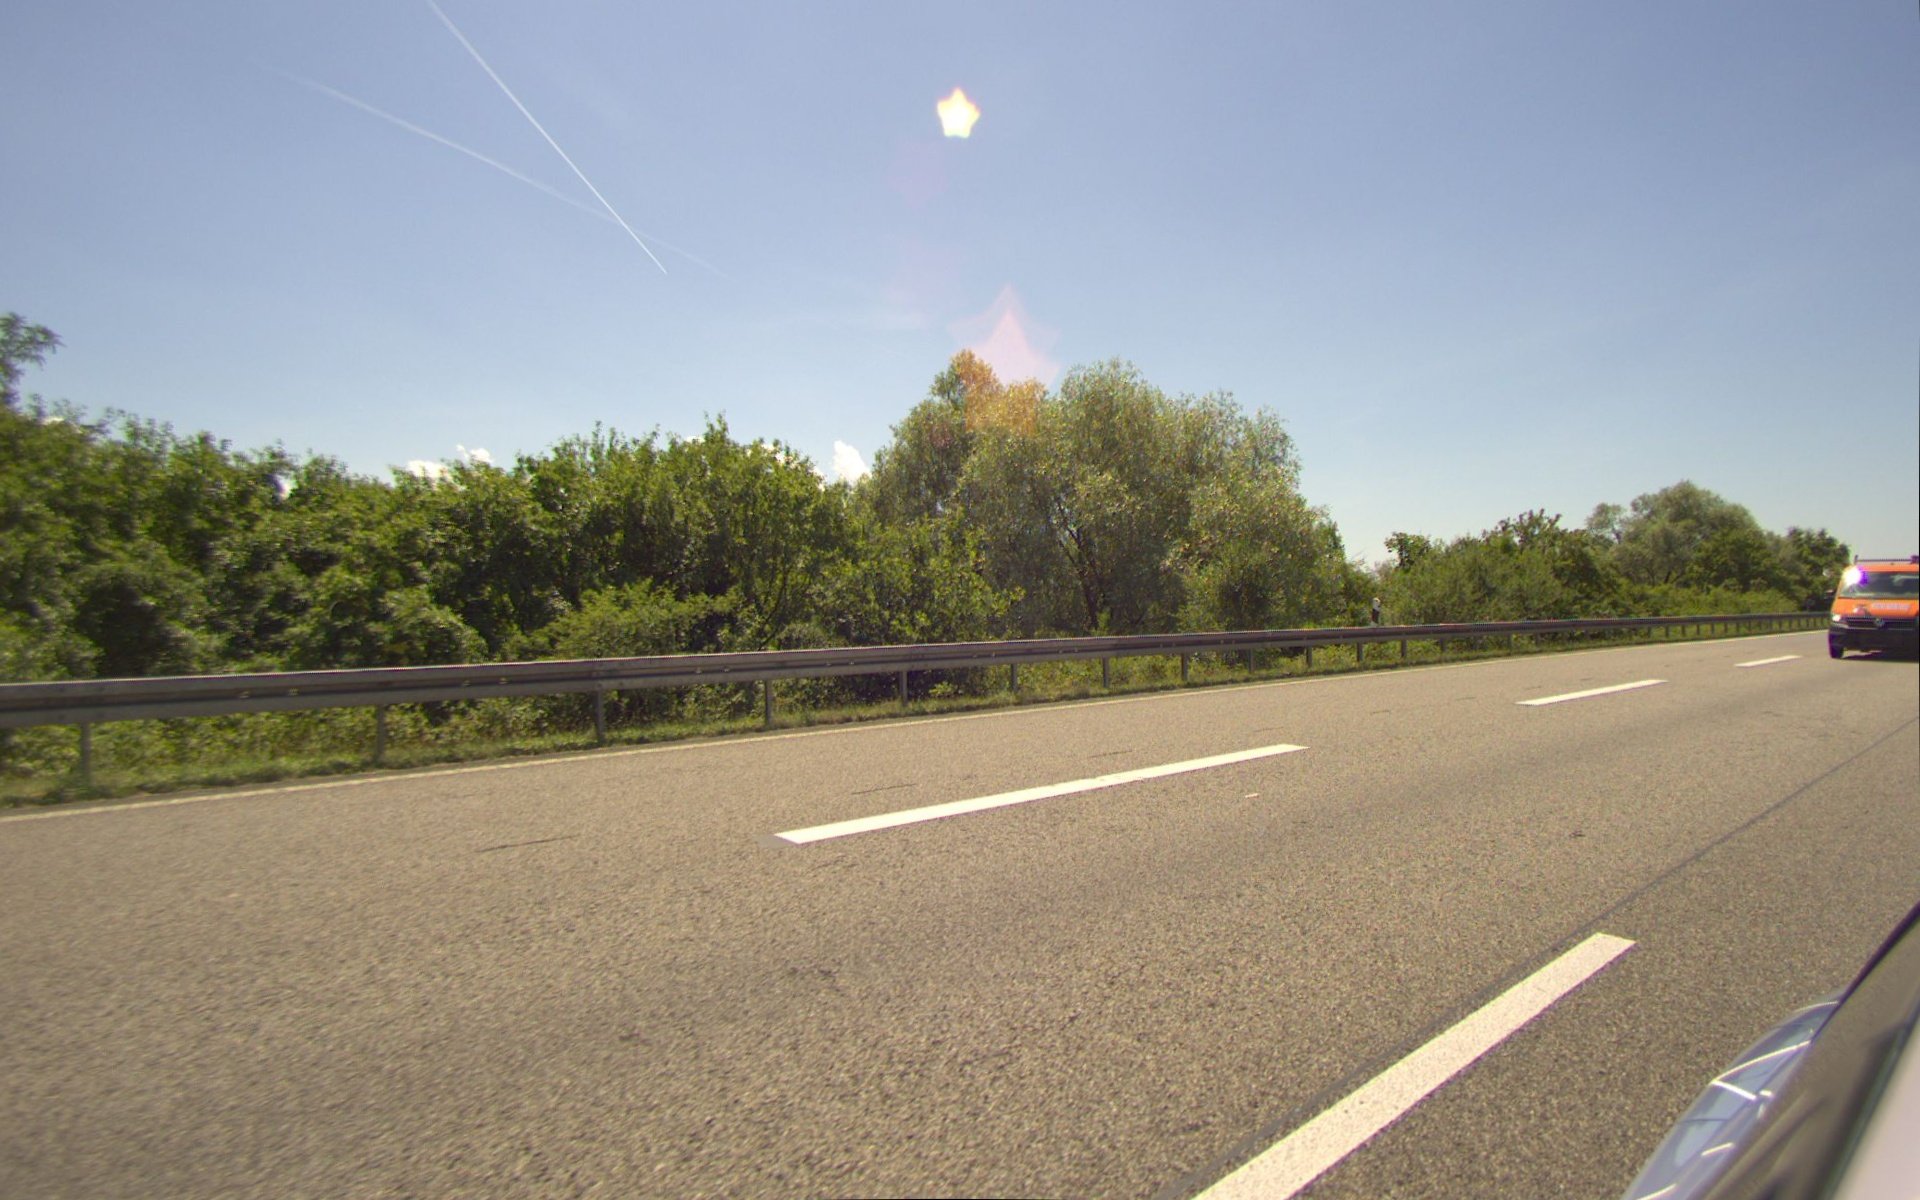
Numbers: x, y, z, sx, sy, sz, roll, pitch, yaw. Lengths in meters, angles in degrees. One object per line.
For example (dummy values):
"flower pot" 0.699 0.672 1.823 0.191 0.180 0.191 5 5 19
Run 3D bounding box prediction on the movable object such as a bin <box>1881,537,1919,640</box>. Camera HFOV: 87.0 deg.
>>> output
"movable object such as a bin" 28.391 -0.305 29.112 4.675 2.851 2.178 0 -1 -40

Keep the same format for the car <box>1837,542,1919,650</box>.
"car" 24.032 -0.073 25.335 7.096 2.436 1.998 0 0 -40
